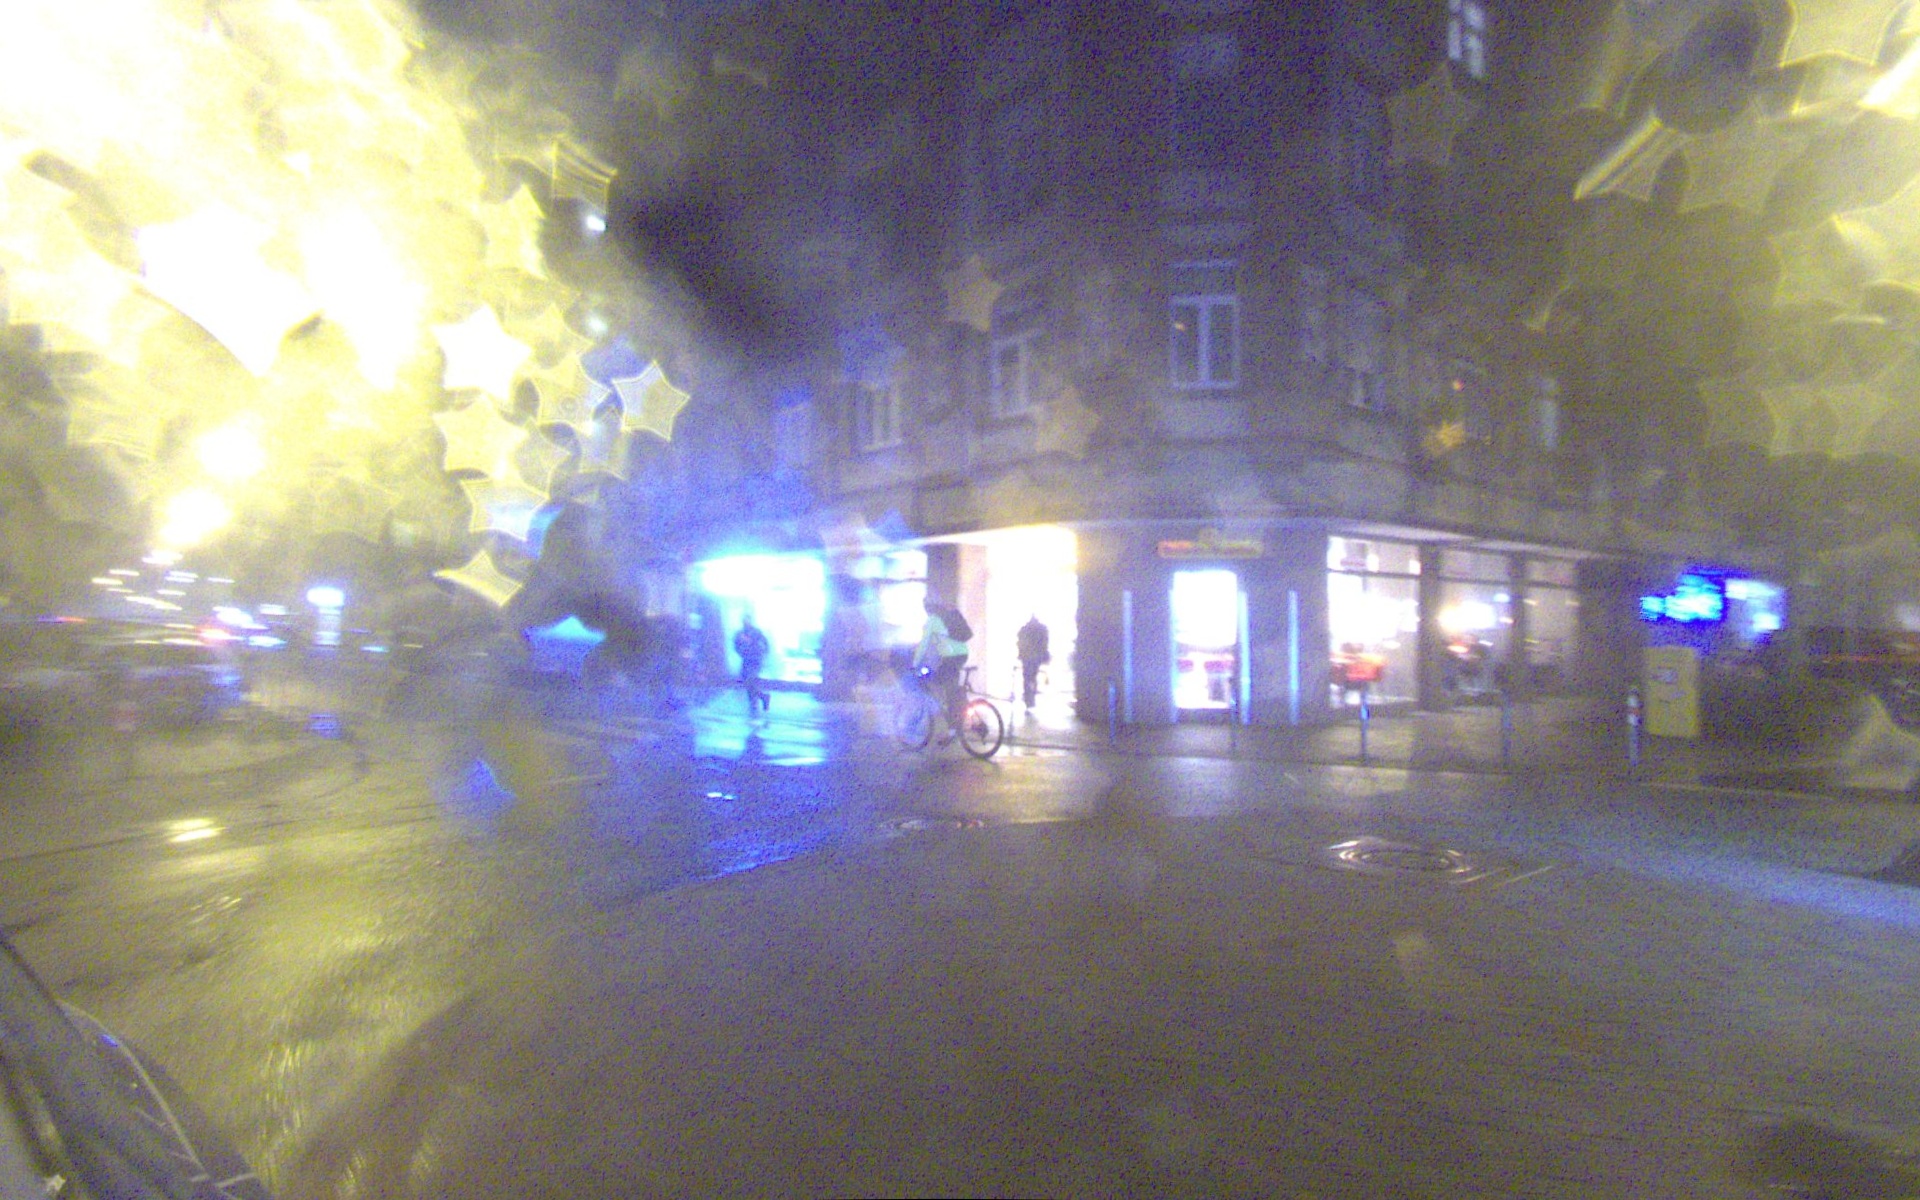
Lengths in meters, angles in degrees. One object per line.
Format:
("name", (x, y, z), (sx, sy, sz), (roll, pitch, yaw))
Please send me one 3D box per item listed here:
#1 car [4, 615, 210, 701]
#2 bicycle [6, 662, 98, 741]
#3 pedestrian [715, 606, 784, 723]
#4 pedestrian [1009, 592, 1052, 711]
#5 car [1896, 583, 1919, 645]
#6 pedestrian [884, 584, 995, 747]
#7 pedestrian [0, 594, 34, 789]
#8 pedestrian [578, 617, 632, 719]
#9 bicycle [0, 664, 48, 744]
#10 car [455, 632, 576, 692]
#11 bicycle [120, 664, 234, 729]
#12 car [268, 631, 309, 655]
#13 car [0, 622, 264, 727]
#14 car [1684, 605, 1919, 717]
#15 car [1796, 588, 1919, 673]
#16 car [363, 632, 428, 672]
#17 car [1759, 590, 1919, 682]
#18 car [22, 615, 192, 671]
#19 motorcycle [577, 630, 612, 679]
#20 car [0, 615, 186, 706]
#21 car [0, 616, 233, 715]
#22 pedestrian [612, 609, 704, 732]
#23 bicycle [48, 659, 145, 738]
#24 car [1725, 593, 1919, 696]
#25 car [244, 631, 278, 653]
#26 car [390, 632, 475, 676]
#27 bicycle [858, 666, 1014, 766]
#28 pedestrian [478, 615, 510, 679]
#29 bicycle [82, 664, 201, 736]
("car", (-21.862, 1.476, 26.139), (1.705, 2.044, 3.722), (0, -3, 15))
("bicycle", (-13.229, 1.454, 14.732), (1.636, 1.101, 0.333), (-2, -3, 24))
("pedestrian", (-3.469, 1.032, 16.618), (0.666, 1.846, 1.080), (-1, -1, -38))
("pedestrian", (1.169, 0.845, 16.783), (0.647, 1.923, 0.627), (-1, -2, 9))
("car", (33.618, 0.417, 33.325), (4.002, 2.029, 1.971), (-2, 0, 45))
("pedestrian", (-0.248, 0.757, 12.001), (1.123, 1.825, 0.706), (-2, -3, 36))
("pedestrian", (-9.552, 0.870, 9.472), (0.866, 1.847, 0.984), (0, -2, -4))
("pedestrian", (-6.447, 1.212, 18.347), (0.814, 1.784, 0.602), (-1, -1, -28))
("bicycle", (-13.443, 1.427, 14.172), (1.636, 1.034, 0.333), (0, -3, 24))
("car", (-12.628, 1.679, 28.556), (1.823, 1.490, 5.039), (0, -2, -40))
("bicycle", (-12.685, 1.566, 16.413), (1.625, 1.034, 0.335), (-1, -3, 4))
("car", (-43.911, 2.808, 66.169), (1.824, 1.489, 3.741), (-1, -1, -40))
("car", (-14.685, 1.233, 17.360), (1.759, 1.586, 4.232), (0, -3, 21))
("car", (17.438, 1.152, 20.559), (1.967, 2.029, 4.009), (-1, 0, -36))
("car", (23.565, 0.726, 25.086), (1.967, 2.029, 4.009), (-1, 0, -36))
("car", (-22.758, 2.057, 40.739), (1.694, 1.489, 3.793), (-1, -1, -38))
("car", (21.523, 0.805, 23.706), (1.967, 2.029, 4.009), (-1, 0, -36))
("car", (-32.889, 1.605, 39.219), (1.965, 1.995, 4.679), (0, -1, 20))
("motorcycle", (-11.262, 1.664, 31.160), (0.530, 1.482, 1.460), (-1, -1, -40))
("car", (-18.562, 1.232, 20.921), (1.732, 1.725, 3.774), (0, -3, 15))
("car", (-16.648, 1.245, 19.716), (1.755, 1.725, 3.721), (0, -3, 15))
("pedestrian", (-4.914, 1.110, 16.431), (0.944, 1.877, 1.417), (1, -2, -41))
("bicycle", (-12.990, 1.460, 15.211), (1.634, 1.034, 0.334), (3, 0, 21))
("car", (19.279, 0.903, 21.822), (1.967, 2.029, 4.009), (-1, 0, -36))
("car", (-55.293, 3.322, 80.020), (1.824, 1.592, 3.741), (-1, -1, -40))
("car", (-19.215, 1.916, 36.794), (1.695, 1.490, 4.164), (0, -2, -43))
("bicycle", (-0.302, 1.335, 12.027), (1.798, 1.067, 0.706), (-2, -3, 36))
("pedestrian", (-17.018, 1.705, 36.963), (0.789, 2.258, 1.118), (1, -2, -41))
("bicycle", (-12.776, 1.551, 15.808), (1.626, 1.034, 0.335), (2, -3, 6))
